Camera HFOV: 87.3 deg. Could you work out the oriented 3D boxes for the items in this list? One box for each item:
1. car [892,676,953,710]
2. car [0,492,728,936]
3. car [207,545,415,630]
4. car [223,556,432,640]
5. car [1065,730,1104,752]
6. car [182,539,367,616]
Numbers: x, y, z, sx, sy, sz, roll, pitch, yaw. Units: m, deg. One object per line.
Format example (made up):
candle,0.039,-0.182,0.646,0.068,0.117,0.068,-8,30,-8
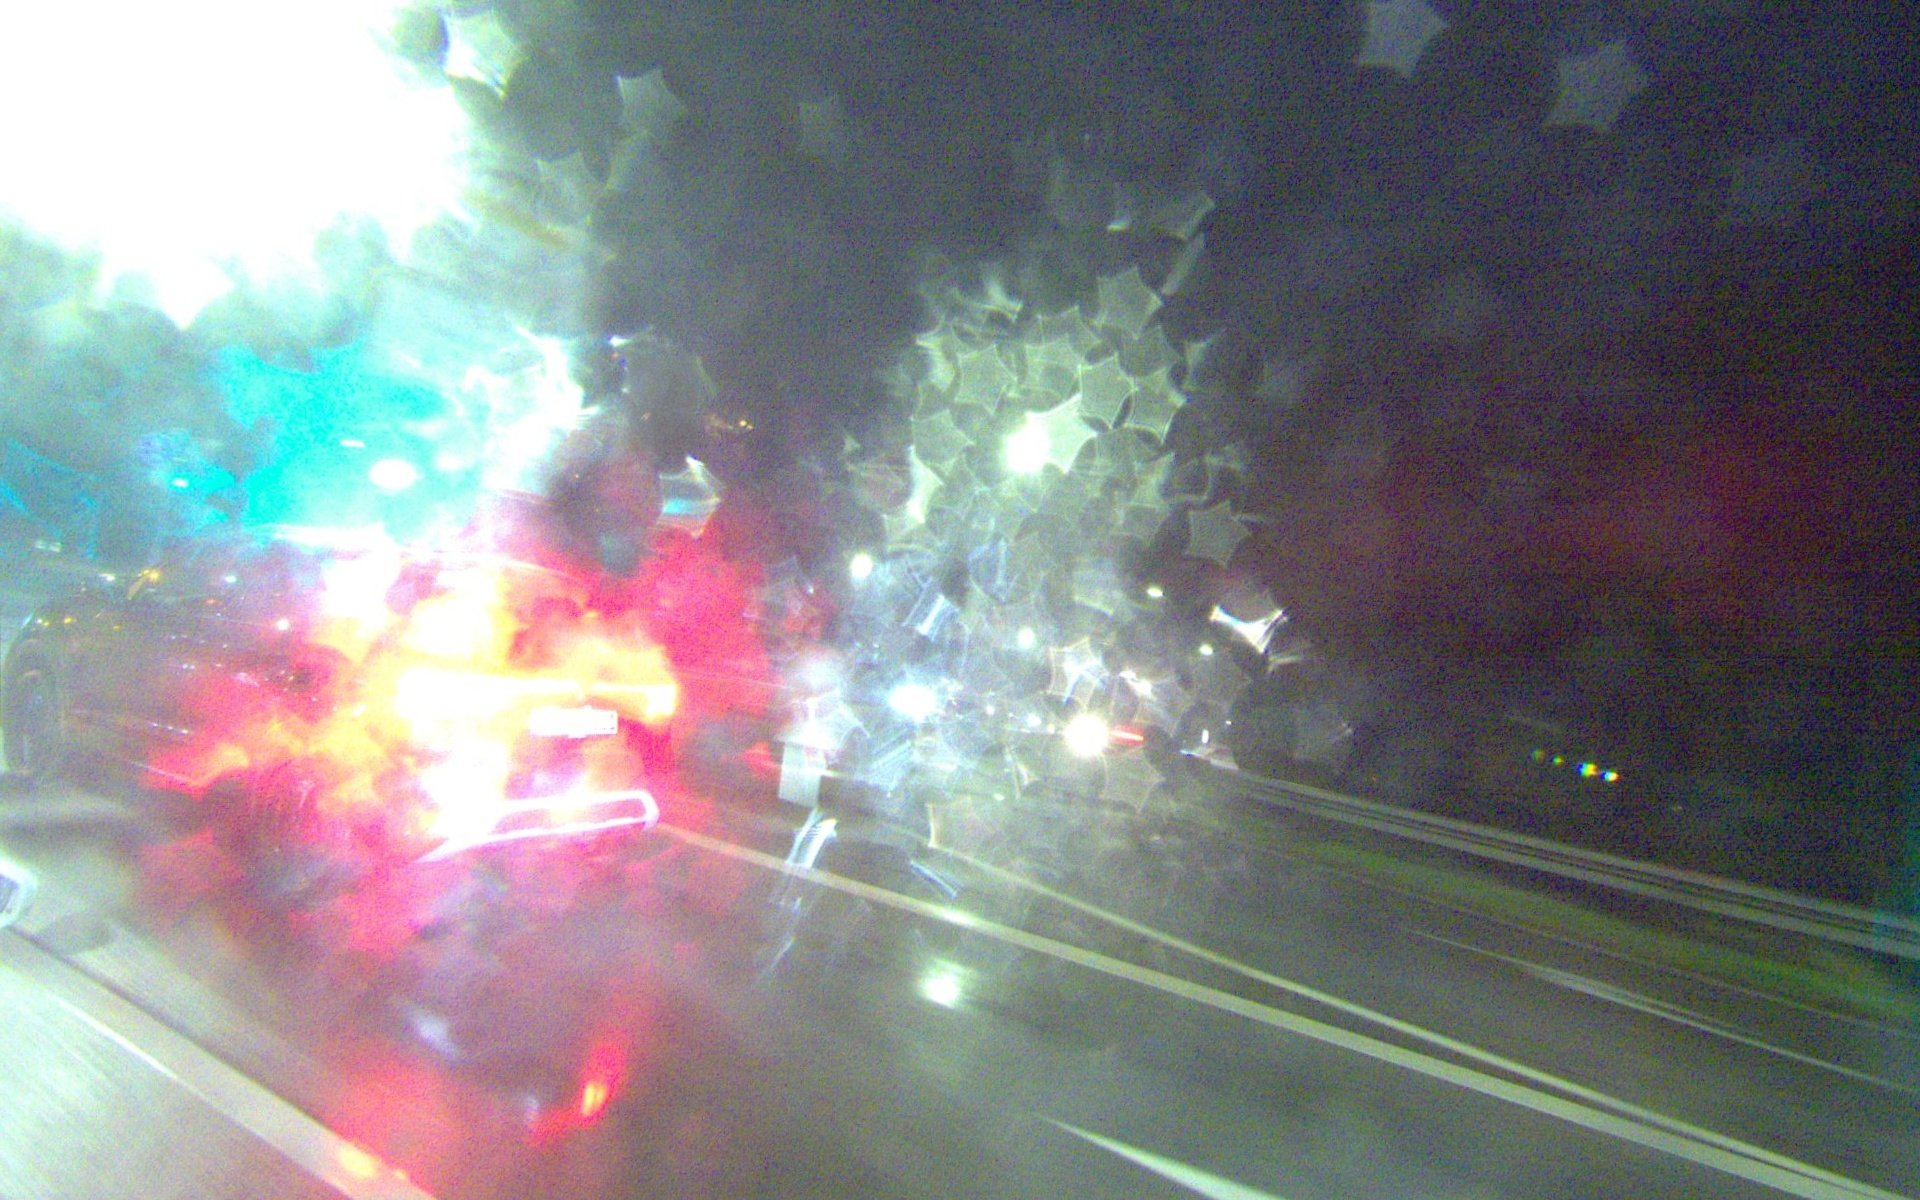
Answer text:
car,-2.362,5.963,64.496,1.795,1.657,3.999,8,-3,31
car,-3.434,0.447,5.463,3.890,1.537,1.684,6,-5,27
car,-18.376,-0.296,28.723,1.825,1.534,4.500,8,-4,30
car,-15.973,0.004,25.635,1.717,1.359,4.057,8,-4,30
car,10.024,11.309,80.604,1.716,1.359,3.914,8,-4,28
car,-21.054,-0.648,31.076,1.825,1.534,4.179,8,-4,30
